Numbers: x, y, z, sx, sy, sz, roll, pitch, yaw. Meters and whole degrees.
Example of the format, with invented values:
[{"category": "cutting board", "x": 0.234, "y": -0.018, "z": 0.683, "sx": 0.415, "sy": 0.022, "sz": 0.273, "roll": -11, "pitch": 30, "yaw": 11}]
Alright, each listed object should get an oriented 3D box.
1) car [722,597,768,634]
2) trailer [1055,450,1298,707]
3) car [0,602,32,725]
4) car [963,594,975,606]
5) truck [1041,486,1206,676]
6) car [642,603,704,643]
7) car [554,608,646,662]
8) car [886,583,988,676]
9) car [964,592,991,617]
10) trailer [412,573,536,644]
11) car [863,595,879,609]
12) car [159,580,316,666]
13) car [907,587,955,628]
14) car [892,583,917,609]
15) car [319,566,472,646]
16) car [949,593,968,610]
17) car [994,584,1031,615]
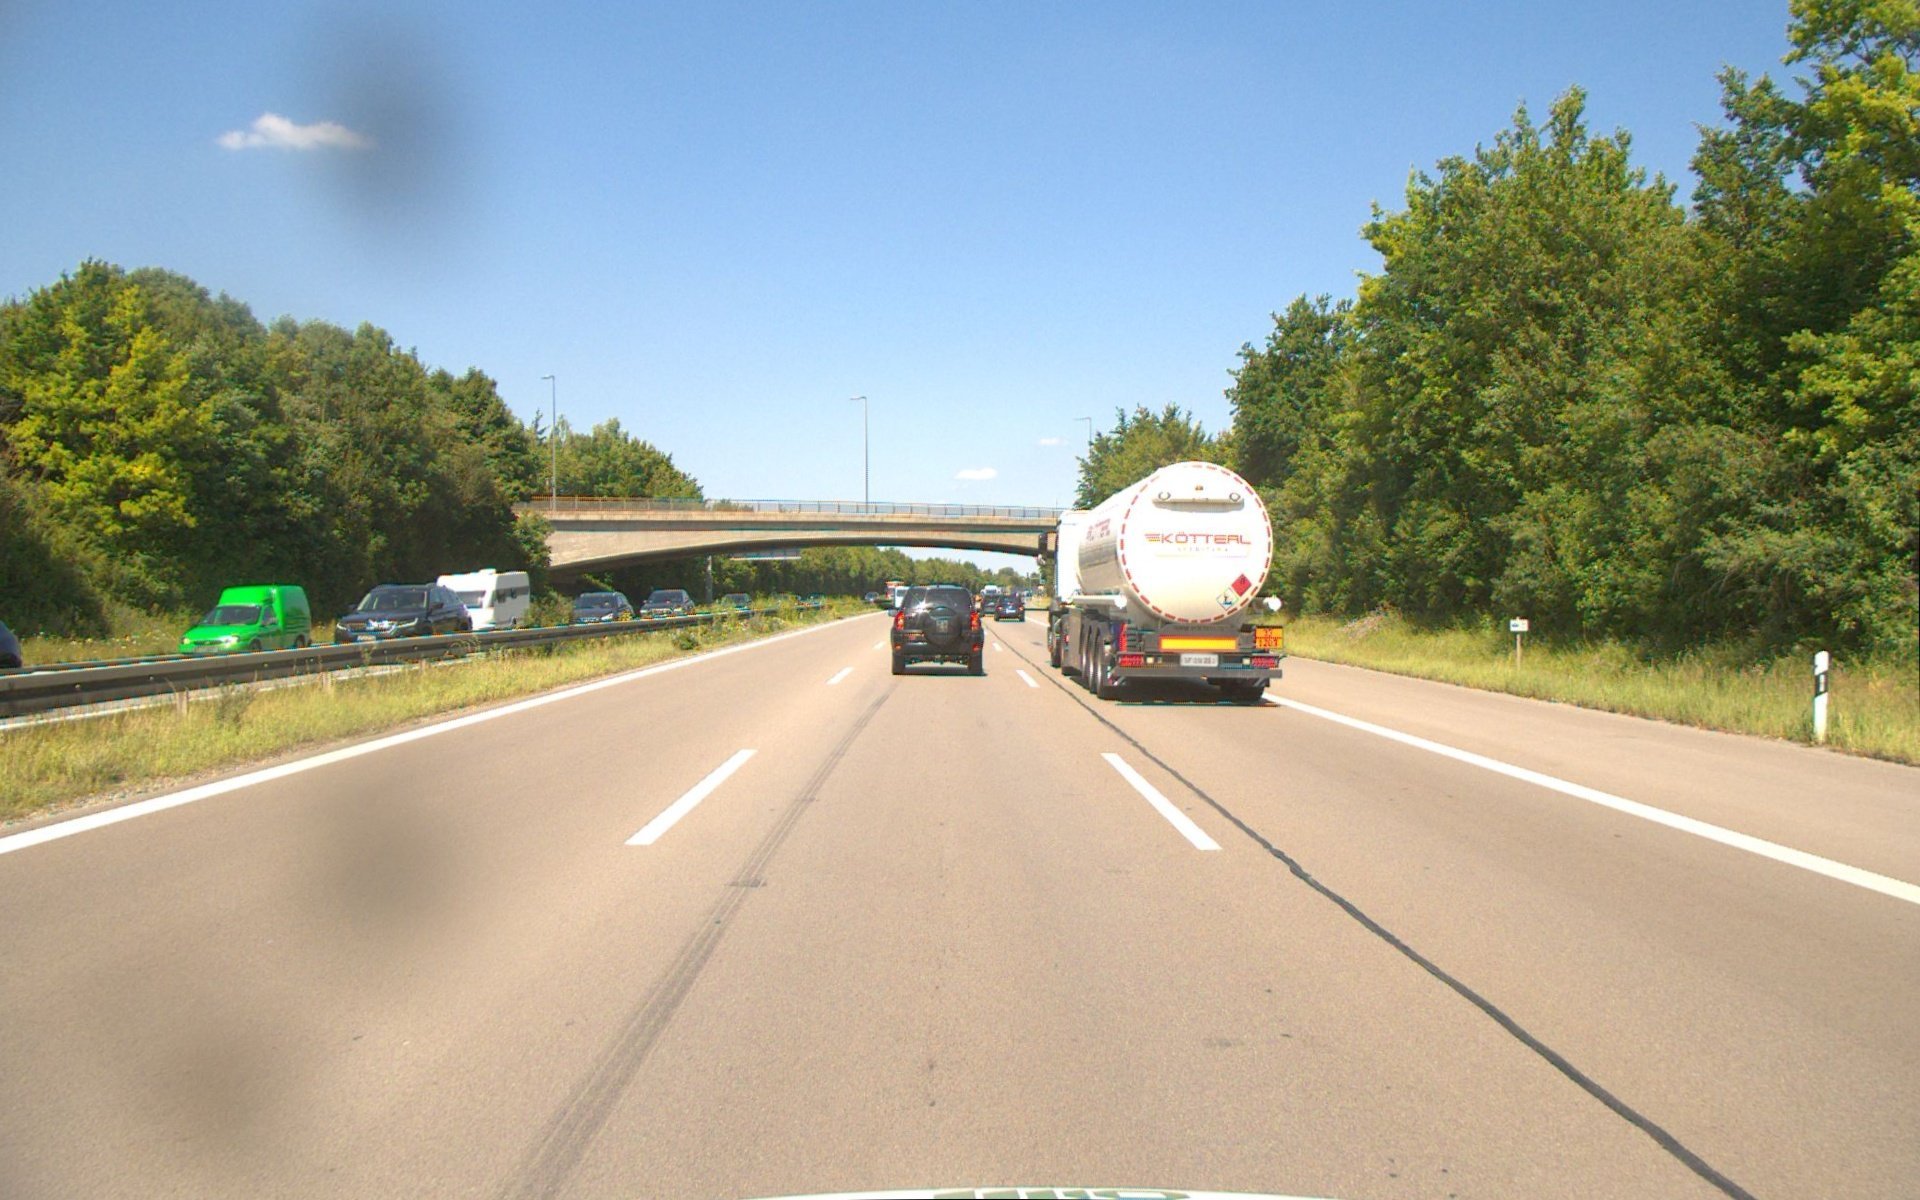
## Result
[{"category": "car", "x": -12.260, "y": 0.862, "z": 94.455, "sx": 1.952, "sy": 2.049, "sz": 4.001, "roll": -1, "pitch": 0, "yaw": 3}, {"category": "trailer", "x": 3.257, "y": -0.302, "z": 27.974, "sx": 2.594, "sy": 3.449, "sz": 11.151, "roll": 1, "pitch": 0, "yaw": 0}, {"category": "car", "x": -11.861, "y": 0.748, "z": 17.664, "sx": 1.681, "sy": 1.414, "sz": 3.999, "roll": -1, "pitch": 0, "yaw": -1}, {"category": "car", "x": 1.388, "y": 0.040, "z": 254.831, "sx": 1.775, "sy": 1.777, "sz": 3.999, "roll": -1, "pitch": 0, "yaw": -1}, {"category": "truck", "x": 3.136, "y": -0.354, "z": 33.396, "sx": 2.584, "sy": 3.434, "sz": 6.486, "roll": 1, "pitch": 0, "yaw": -1}, {"category": "car", "x": -12.151, "y": 0.947, "z": 70.246, "sx": 1.876, "sy": 1.629, "sz": 4.433, "roll": -1, "pitch": 0, "yaw": -1}, {"category": "car", "x": -11.890, "y": 1.130, "z": 54.992, "sx": 1.953, "sy": 1.632, "sz": 5.089, "roll": 0, "pitch": 0, "yaw": 0}, {"category": "car", "x": -0.475, "y": 0.539, "z": 32.206, "sx": 1.868, "sy": 1.694, "sz": 3.999, "roll": 0, "pitch": 0, "yaw": -2}, {"category": "car", "x": 1.222, "y": 0.328, "z": 115.071, "sx": 1.804, "sy": 1.640, "sz": 4.000, "roll": 0, "pitch": -1, "yaw": 0}, {"category": "trailer", "x": -19.973, "y": 0.290, "z": 68.490, "sx": 2.676, "sy": 2.734, "sz": 8.629, "roll": 0, "pitch": 0, "yaw": -1}, {"category": "car", "x": -11.504, "y": 0.233, "z": 213.138, "sx": 1.760, "sy": 1.695, "sz": 4.129, "roll": -1, "pitch": 0, "yaw": 1}, {"category": "car", "x": -16.490, "y": 0.479, "z": 37.989, "sx": 1.777, "sy": 1.840, "sz": 4.380, "roll": -1, "pitch": 0, "yaw": -2}, {"category": "car", "x": -1.329, "y": 0.332, "z": 73.064, "sx": 1.954, "sy": 1.736, "sz": 4.333, "roll": -1, "pitch": 0, "yaw": -3}, {"category": "car", "x": -4.561, "y": -0.342, "z": 135.241, "sx": 1.953, "sy": 2.049, "sz": 4.947, "roll": -1, "pitch": 0, "yaw": -2}, {"category": "car", "x": -12.057, "y": 0.154, "z": 35.622, "sx": 1.812, "sy": 1.601, "sz": 4.421, "roll": 0, "pitch": -1, "yaw": -1}, {"category": "car", "x": -0.174, "y": 0.159, "z": 183.260, "sx": 1.953, "sy": 1.780, "sz": 4.204, "roll": -1, "pitch": 0, "yaw": -1}, {"category": "car", "x": 3.005, "y": -0.012, "z": 95.738, "sx": 1.953, "sy": 1.713, "sz": 3.999, "roll": 0, "pitch": -1, "yaw": -1}]
